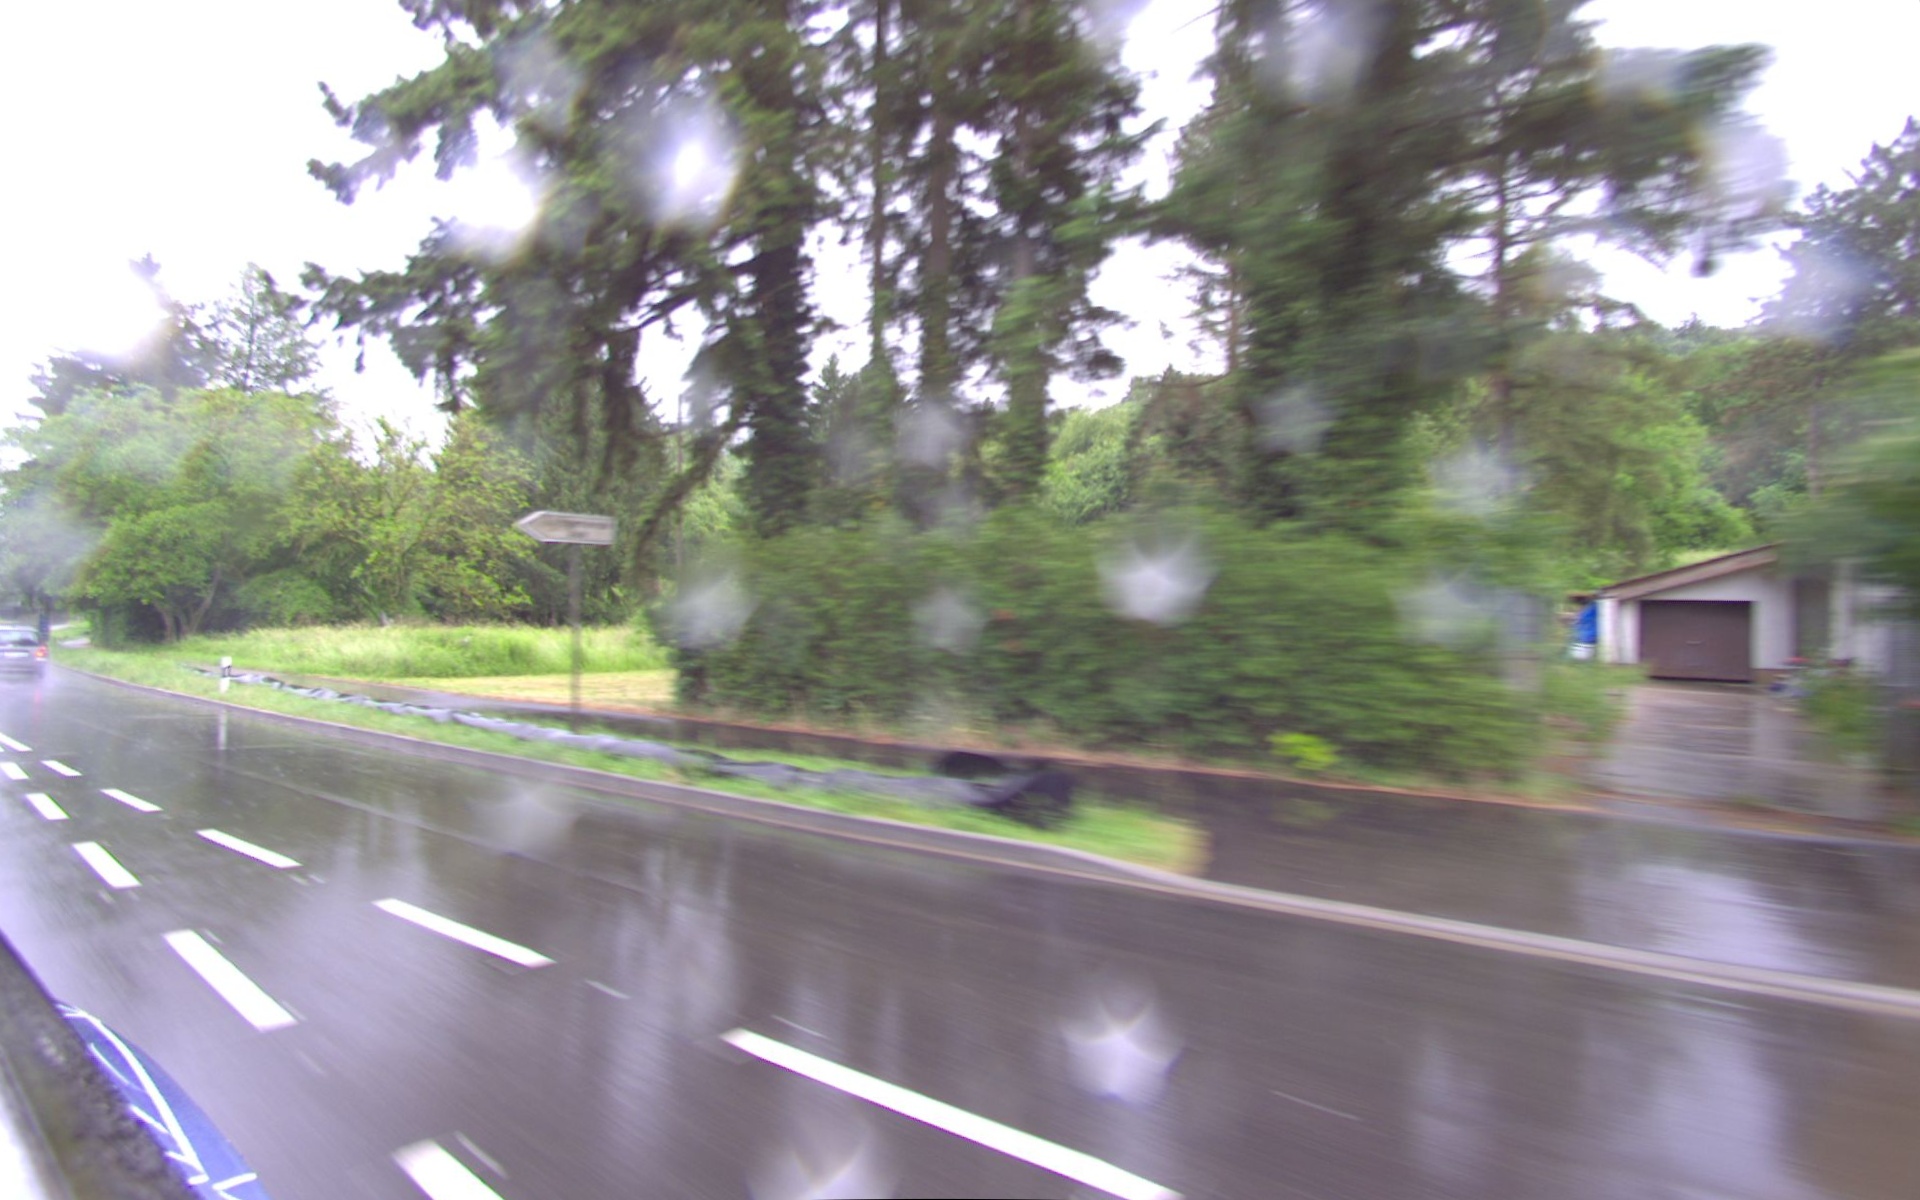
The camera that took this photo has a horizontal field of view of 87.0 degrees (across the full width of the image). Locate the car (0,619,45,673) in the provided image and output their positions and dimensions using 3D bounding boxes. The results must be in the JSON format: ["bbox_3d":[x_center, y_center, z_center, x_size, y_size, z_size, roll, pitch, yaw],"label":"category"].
[{"bbox_3d":[-29.014,1.418,30.463,3.999,1.564,1.741,-3,-4,42],"label":"car"}]
